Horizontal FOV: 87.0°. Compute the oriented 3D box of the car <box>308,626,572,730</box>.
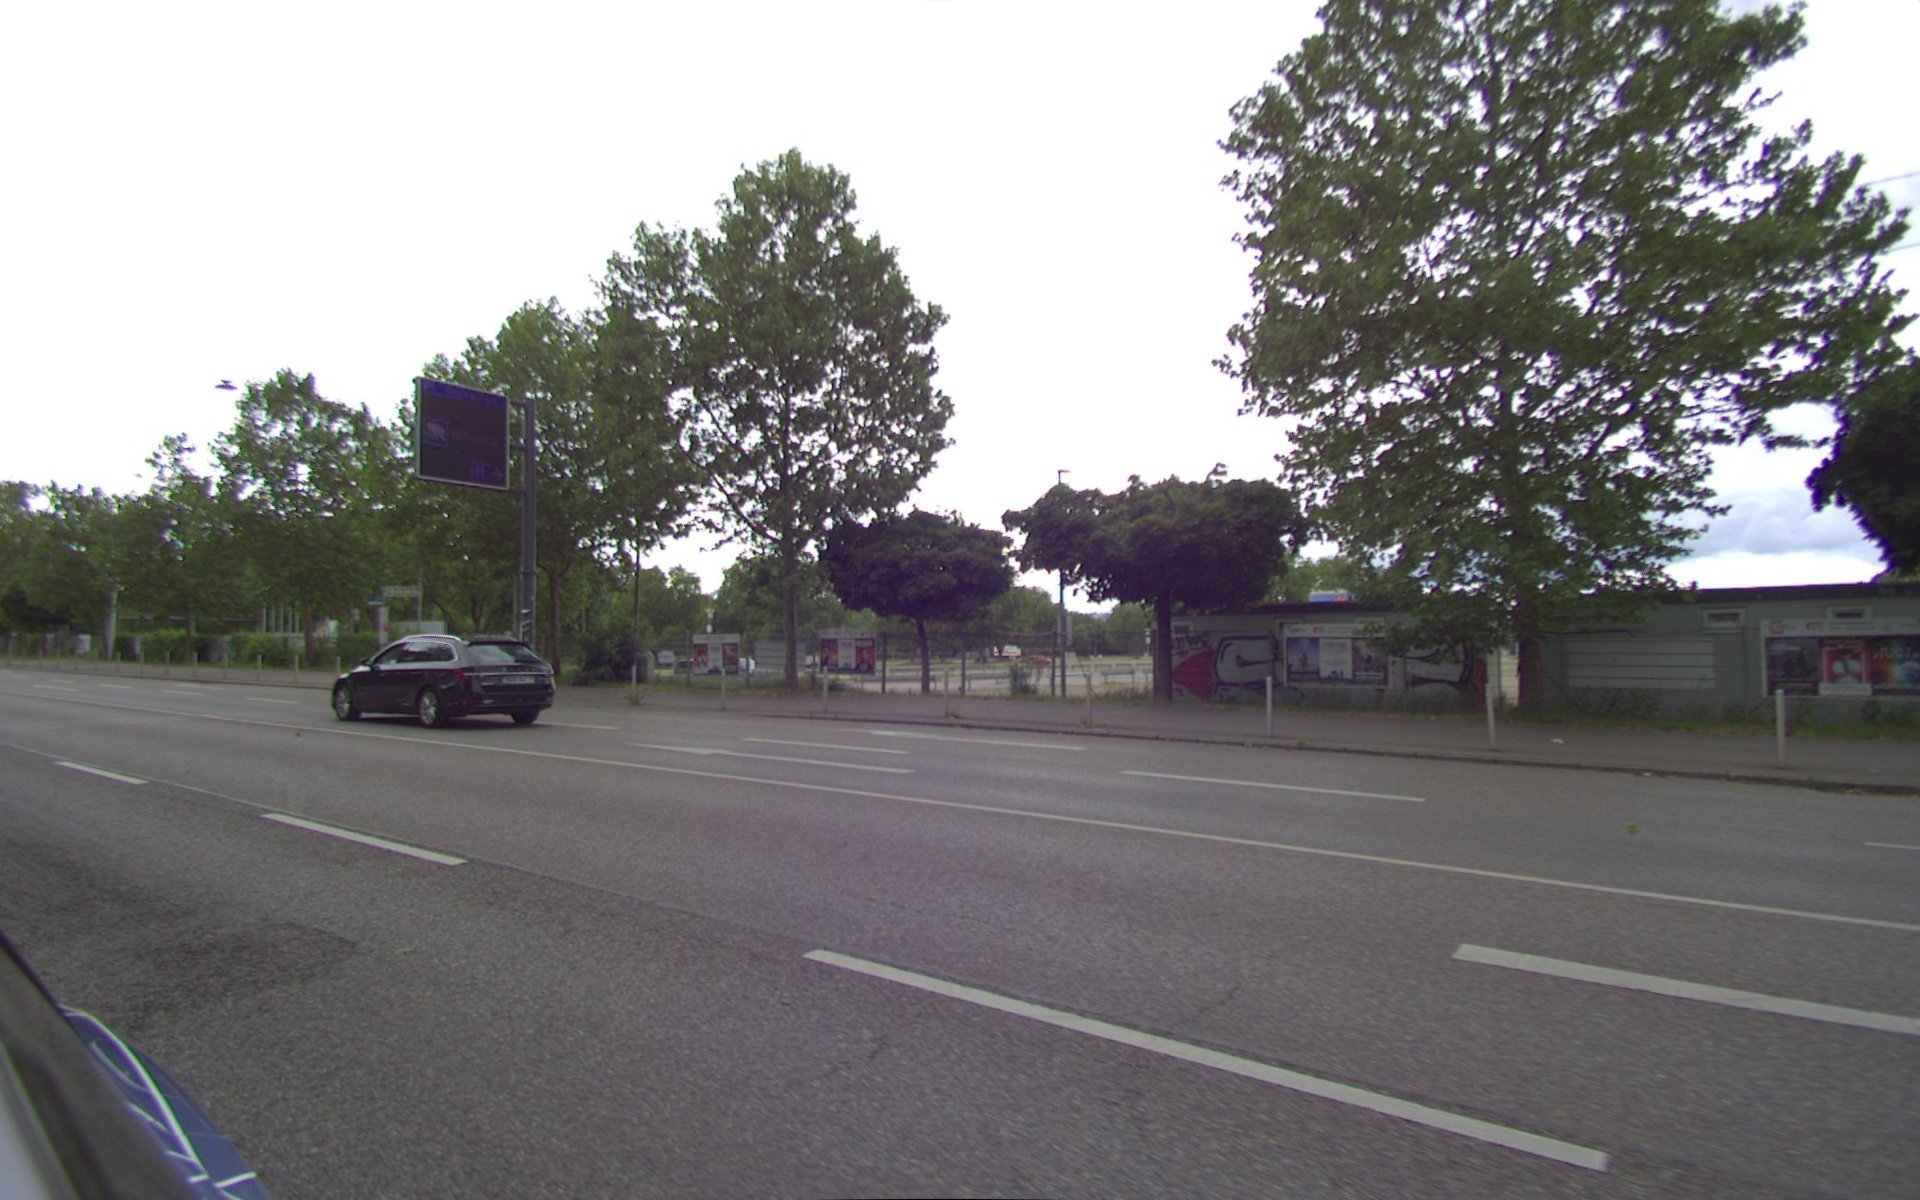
[{"bbox_3d":[-8.872,1.257,17.151,4.714,1.542,1.976,-2,-4,35],"label":"car"}]

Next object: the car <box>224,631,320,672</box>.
[{"bbox_3d":[-35.396,2.630,52.034,4.620,2.029,2.368,-1,-3,32],"label":"car"}]
